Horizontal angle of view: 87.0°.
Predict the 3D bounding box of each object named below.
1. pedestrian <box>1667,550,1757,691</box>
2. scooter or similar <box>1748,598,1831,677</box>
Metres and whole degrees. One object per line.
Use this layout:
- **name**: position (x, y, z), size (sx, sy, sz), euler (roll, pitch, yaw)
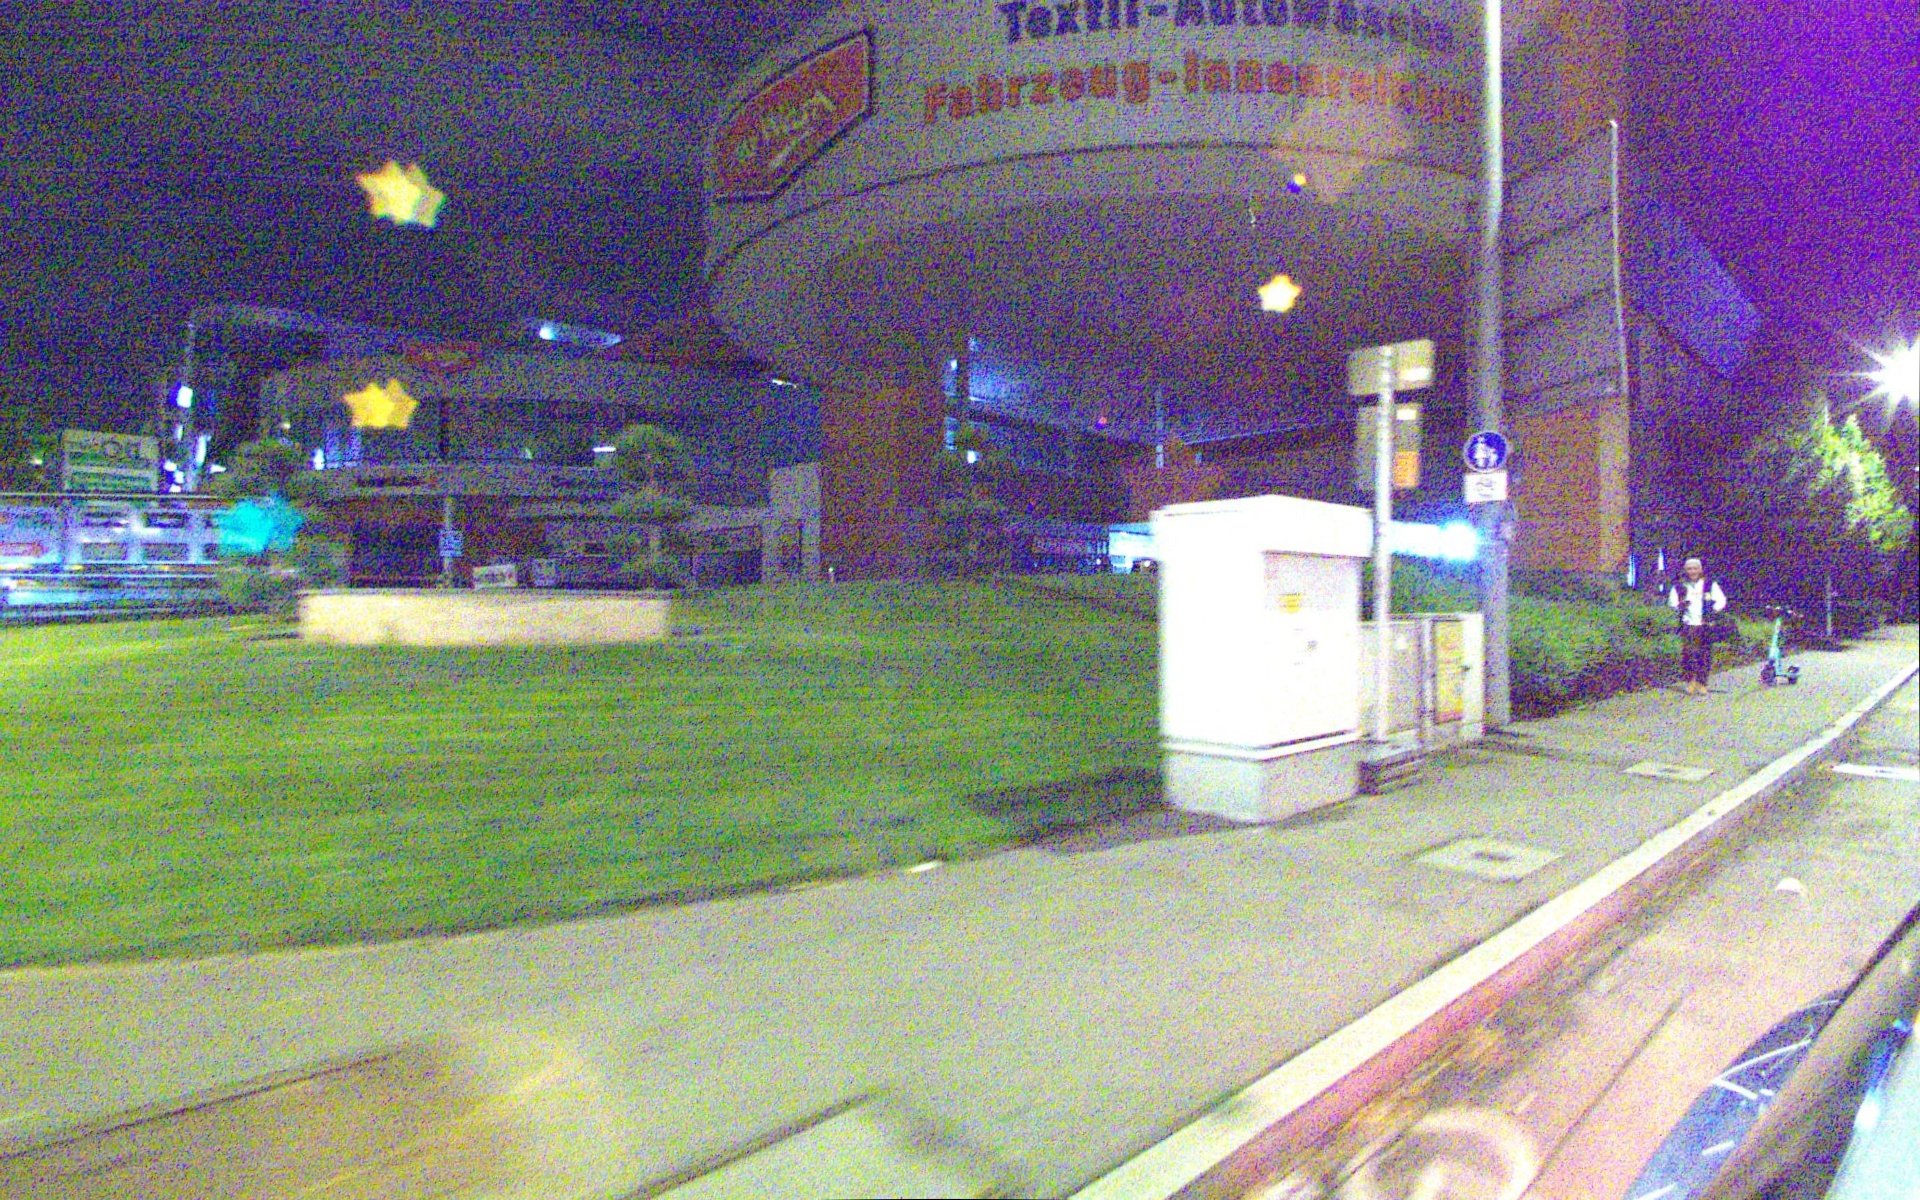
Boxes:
- **pedestrian**: position (10.538, 0.268, 14.174), size (1.016, 1.888, 0.819), euler (0, 0, -41)
- **scooter or similar**: position (13.131, 0.598, 16.026), size (1.111, 1.217, 0.470), euler (1, -1, -18)
